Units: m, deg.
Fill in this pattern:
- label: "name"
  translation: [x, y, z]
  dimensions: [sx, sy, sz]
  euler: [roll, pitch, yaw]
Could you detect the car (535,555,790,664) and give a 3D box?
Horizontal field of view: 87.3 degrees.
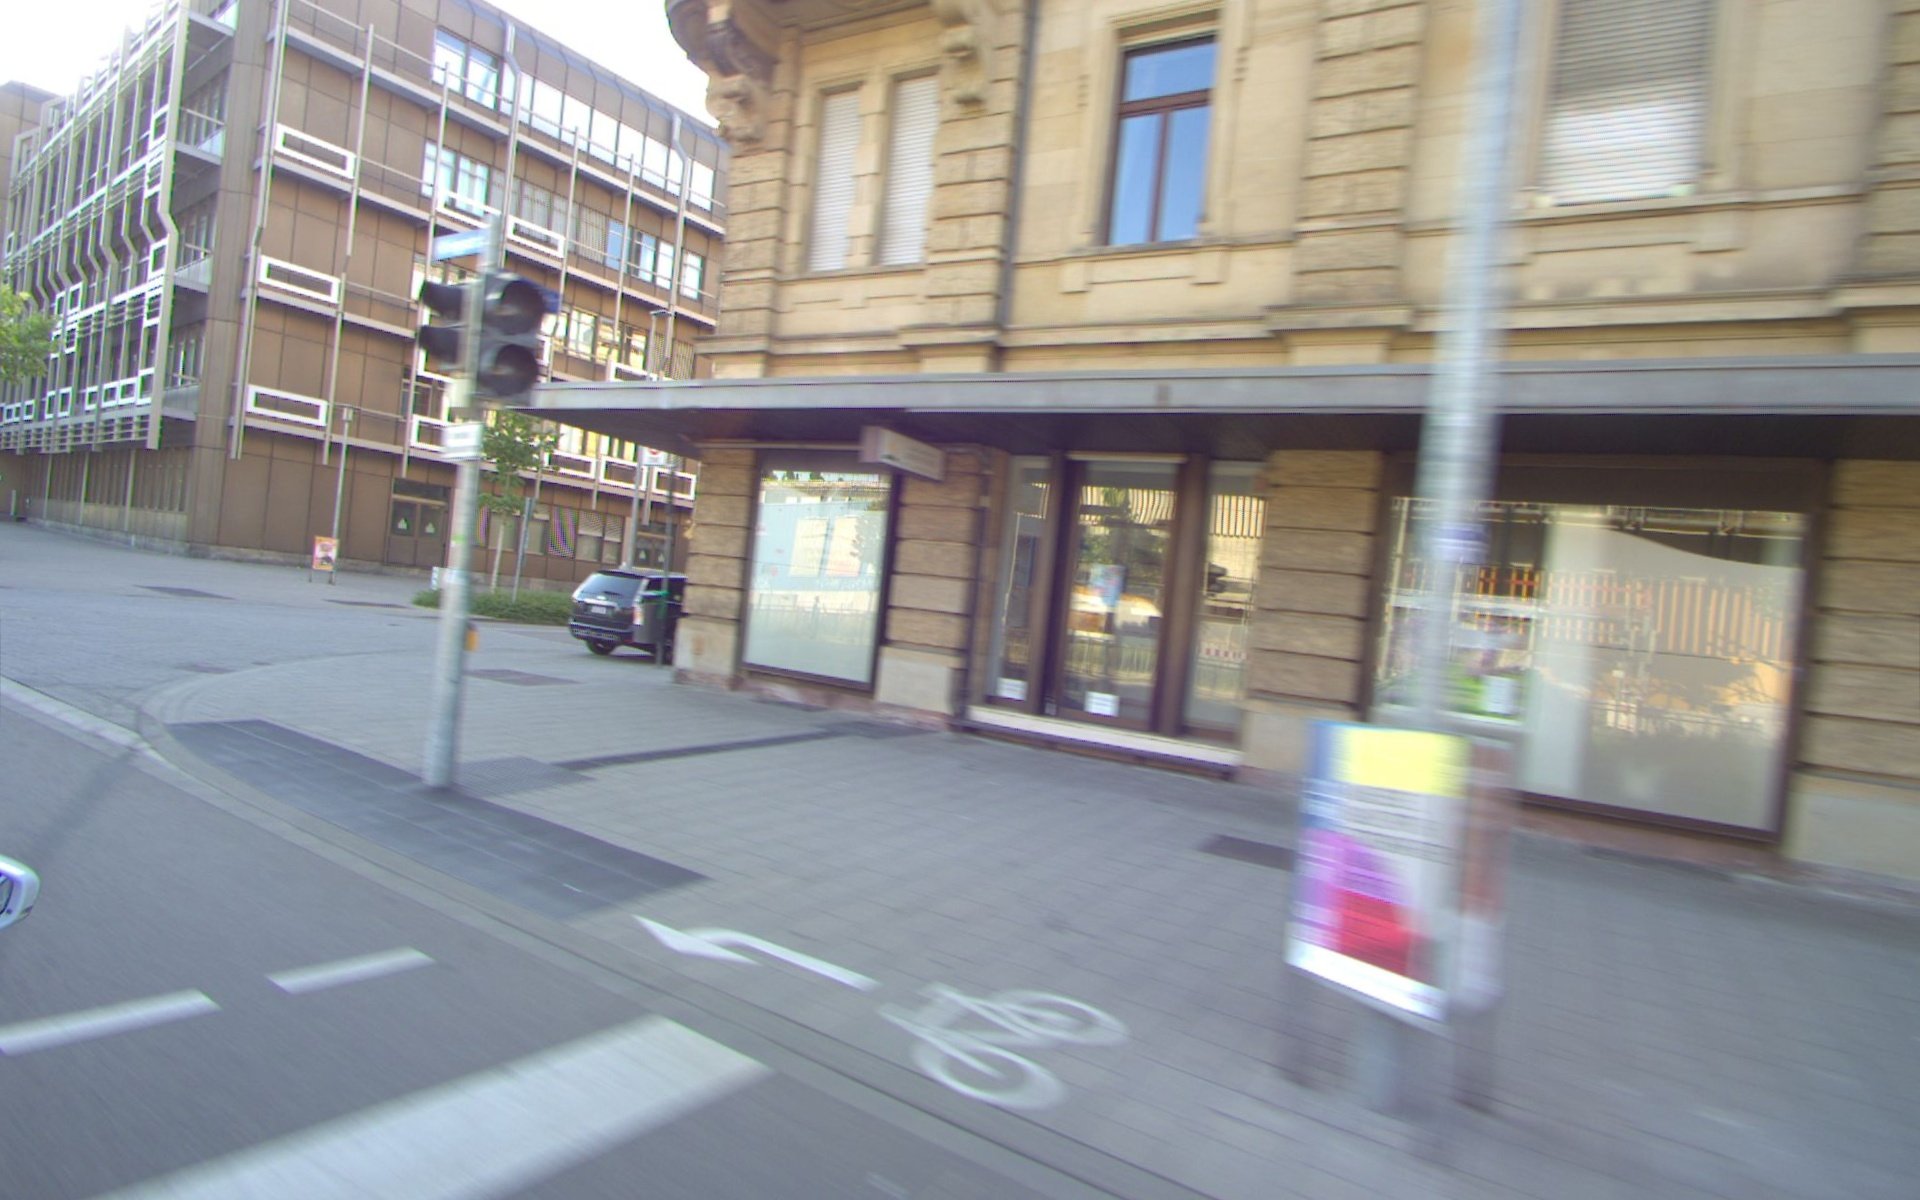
- label: "car"
  translation: [-5.018, 0.251, 17.615]
  dimensions: [1.830, 1.466, 4.274]
  euler: [5, -2, 25]
